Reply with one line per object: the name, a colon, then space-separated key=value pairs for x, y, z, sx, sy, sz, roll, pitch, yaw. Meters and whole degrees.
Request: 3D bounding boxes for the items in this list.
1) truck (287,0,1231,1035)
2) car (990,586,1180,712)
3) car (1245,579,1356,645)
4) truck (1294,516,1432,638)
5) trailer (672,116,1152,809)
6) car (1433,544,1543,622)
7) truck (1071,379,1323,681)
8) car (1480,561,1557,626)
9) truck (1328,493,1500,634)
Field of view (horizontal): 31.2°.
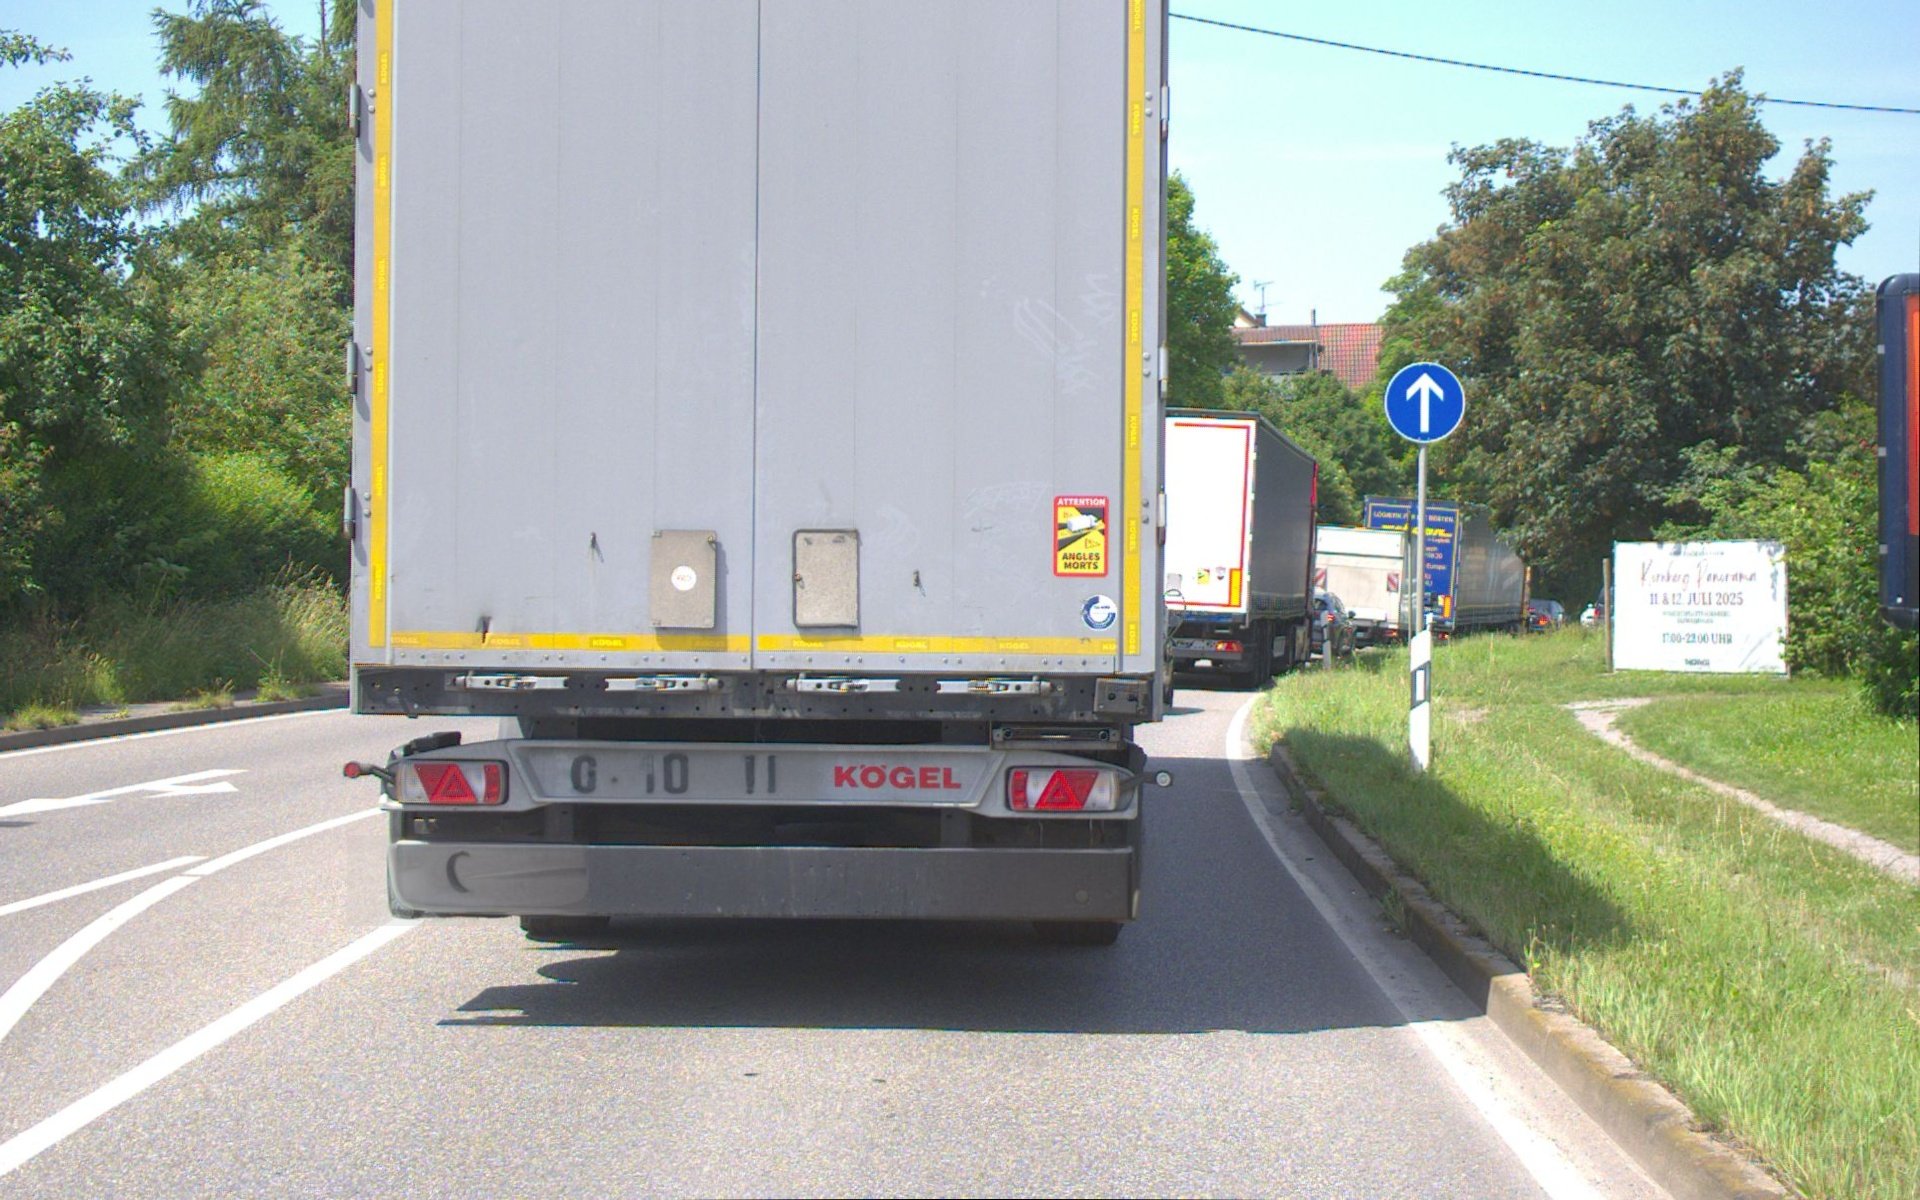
truck: x=-0.426 y=-0.865 z=16.117 sx=2.822 sy=4.113 sz=11.443 roll=1 pitch=1 yaw=2
car: x=1.483 y=0.532 z=39.368 sx=1.819 sy=1.342 sz=3.846 roll=1 pitch=0 yaw=7
car: x=7.477 y=0.264 z=75.113 sx=1.994 sy=1.371 sz=3.998 roll=1 pitch=0 yaw=11
truck: x=9.791 y=-0.534 z=83.048 sx=2.545 sy=2.793 sz=6.028 roll=1 pitch=0 yaw=14
trailer: x=-0.185 y=-0.876 z=23.696 sx=2.825 sy=4.097 sz=6.544 roll=0 pitch=1 yaw=2
car: x=16.082 y=-0.544 z=104.438 sx=2.533 sy=2.269 sz=6.376 roll=1 pitch=1 yaw=15
truck: x=4.220 y=-0.993 z=57.100 sx=2.761 sy=4.274 sz=16.409 roll=1 pitch=0 yaw=9
car: x=17.977 y=-0.209 z=110.547 sx=1.995 sy=2.007 sz=3.997 roll=1 pitch=0 yaw=15
truck: x=12.388 y=-1.040 z=93.042 sx=3.435 sy=3.592 sz=9.347 roll=1 pitch=1 yaw=15
